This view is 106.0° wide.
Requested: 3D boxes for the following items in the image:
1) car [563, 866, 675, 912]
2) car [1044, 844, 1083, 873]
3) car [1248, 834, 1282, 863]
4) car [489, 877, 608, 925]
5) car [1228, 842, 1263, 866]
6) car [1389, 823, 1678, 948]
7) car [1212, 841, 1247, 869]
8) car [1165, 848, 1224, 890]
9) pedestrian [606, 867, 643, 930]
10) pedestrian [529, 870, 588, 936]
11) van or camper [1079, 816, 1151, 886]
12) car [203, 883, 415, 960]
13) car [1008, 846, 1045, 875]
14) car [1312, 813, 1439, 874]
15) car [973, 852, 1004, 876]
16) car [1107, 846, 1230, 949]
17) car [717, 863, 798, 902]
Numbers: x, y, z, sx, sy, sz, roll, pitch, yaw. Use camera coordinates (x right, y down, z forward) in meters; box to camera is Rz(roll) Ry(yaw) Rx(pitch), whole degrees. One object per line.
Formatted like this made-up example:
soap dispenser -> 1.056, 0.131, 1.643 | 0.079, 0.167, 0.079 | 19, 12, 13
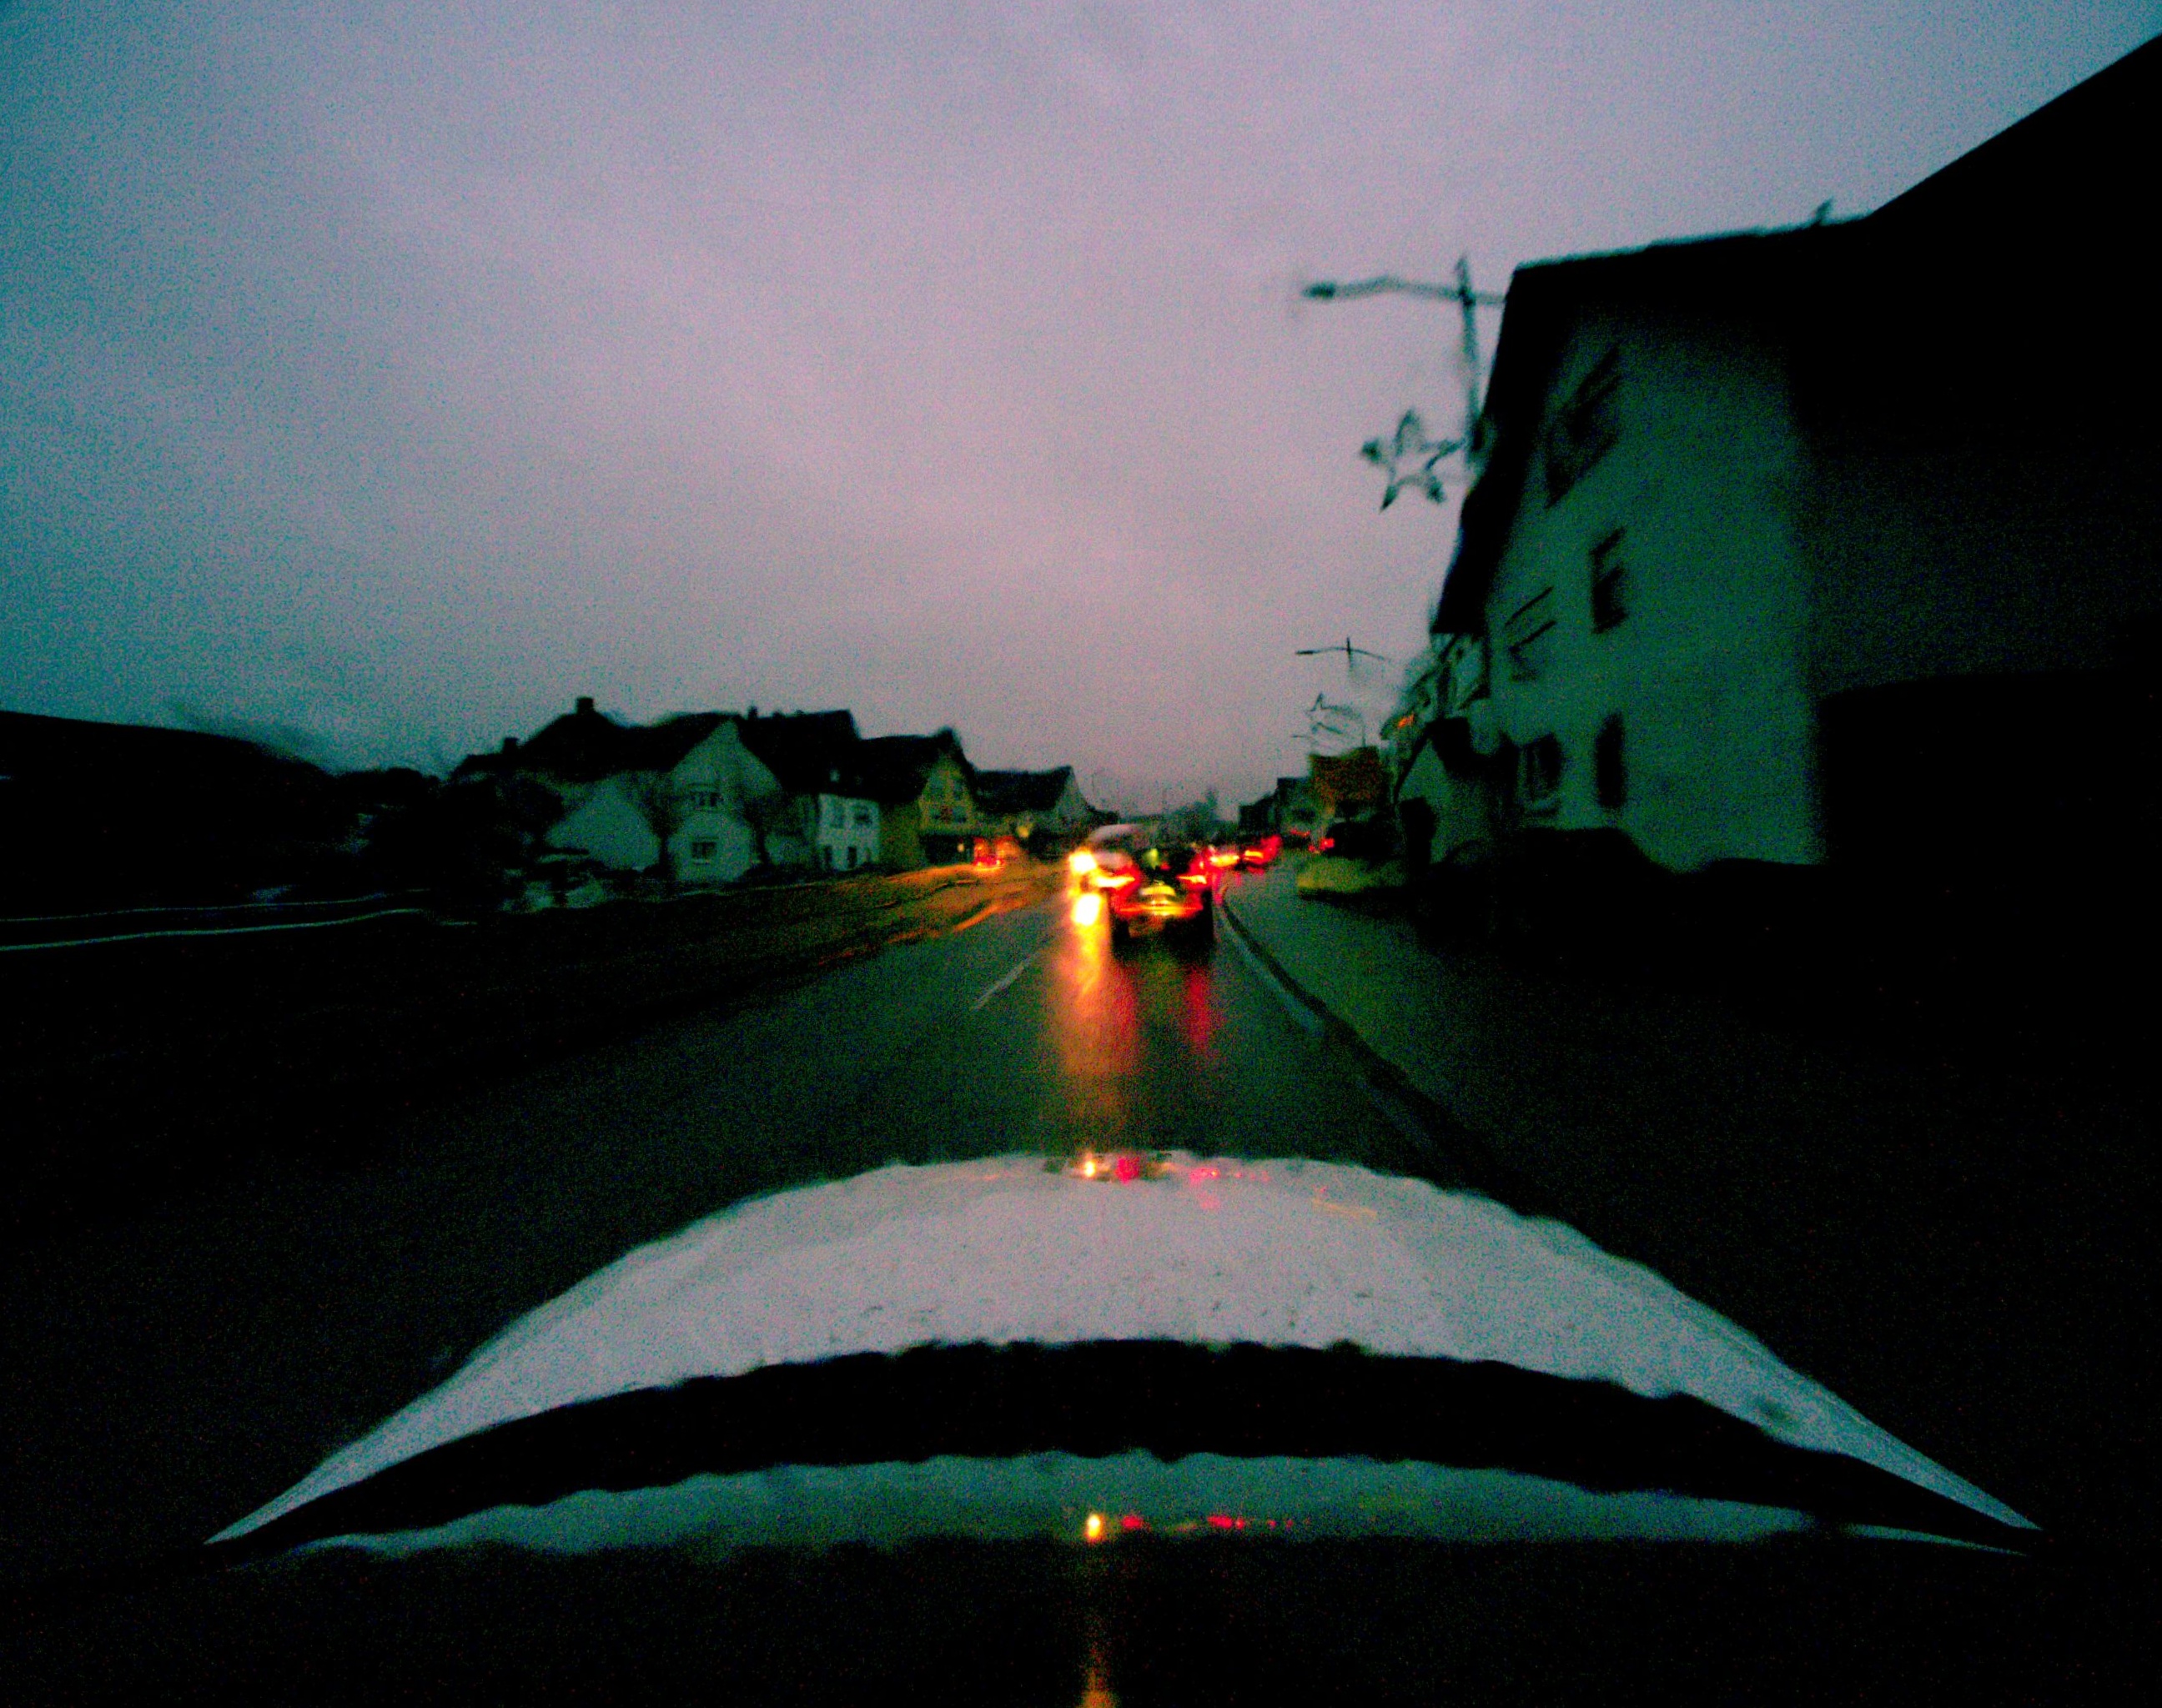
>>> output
car -> -20.938, 1.570, 37.003 | 3.967, 1.694, 1.867 | -4, 0, 6
car -> -1.345, 0.329, 60.642 | 2.039, 1.925, 4.039 | -3, 0, -12
car -> 14.352, -0.418, 63.827 | 2.145, 1.991, 4.510 | -6, -1, 9
car -> -18.478, 1.599, 28.428 | 1.474, 1.427, 3.467 | -2, 0, 8
car -> 10.970, -0.023, 54.157 | 1.979, 1.391, 4.016 | -3, 0, 14
car -> 6.320, 0.391, 11.967 | 1.762, 1.393, 3.907 | -5, 0, -5
car -> 8.220, 0.047, 45.272 | 1.803, 1.412, 4.012 | -1, 1, 10
car -> 4.306, 0.509, 30.504 | 1.670, 1.453, 4.016 | -1, 0, 15
pedestrian -> -12.725, 1.234, 22.710 | 0.659, 1.697, 0.543 | -2, 0, 10
pedestrian -> -14.689, 1.365, 22.923 | 0.923, 1.784, 0.975 | -2, 0, 6
van or camper -> 1.650, -0.155, 35.861 | 2.227, 2.669, 6.573 | -3, 0, 9
car -> -19.545, 1.644, 20.872 | 1.558, 1.580, 3.825 | -4, -1, 4
car -> -4.089, 0.461, 60.237 | 2.039, 1.925, 4.039 | -3, 0, -12
car -> 11.420, -0.407, 31.813 | 4.155, 1.638, 1.807 | -9, 0, 6
car -> -6.938, 0.732, 60.739 | 1.823, 1.613, 4.039 | -3, 0, -12
car -> 1.534, 0.691, 15.372 | 1.956, 1.594, 4.317 | -1, 1, 3
car -> -16.294, 1.413, 41.260 | 1.900, 1.682, 4.228 | -3, 0, 8
